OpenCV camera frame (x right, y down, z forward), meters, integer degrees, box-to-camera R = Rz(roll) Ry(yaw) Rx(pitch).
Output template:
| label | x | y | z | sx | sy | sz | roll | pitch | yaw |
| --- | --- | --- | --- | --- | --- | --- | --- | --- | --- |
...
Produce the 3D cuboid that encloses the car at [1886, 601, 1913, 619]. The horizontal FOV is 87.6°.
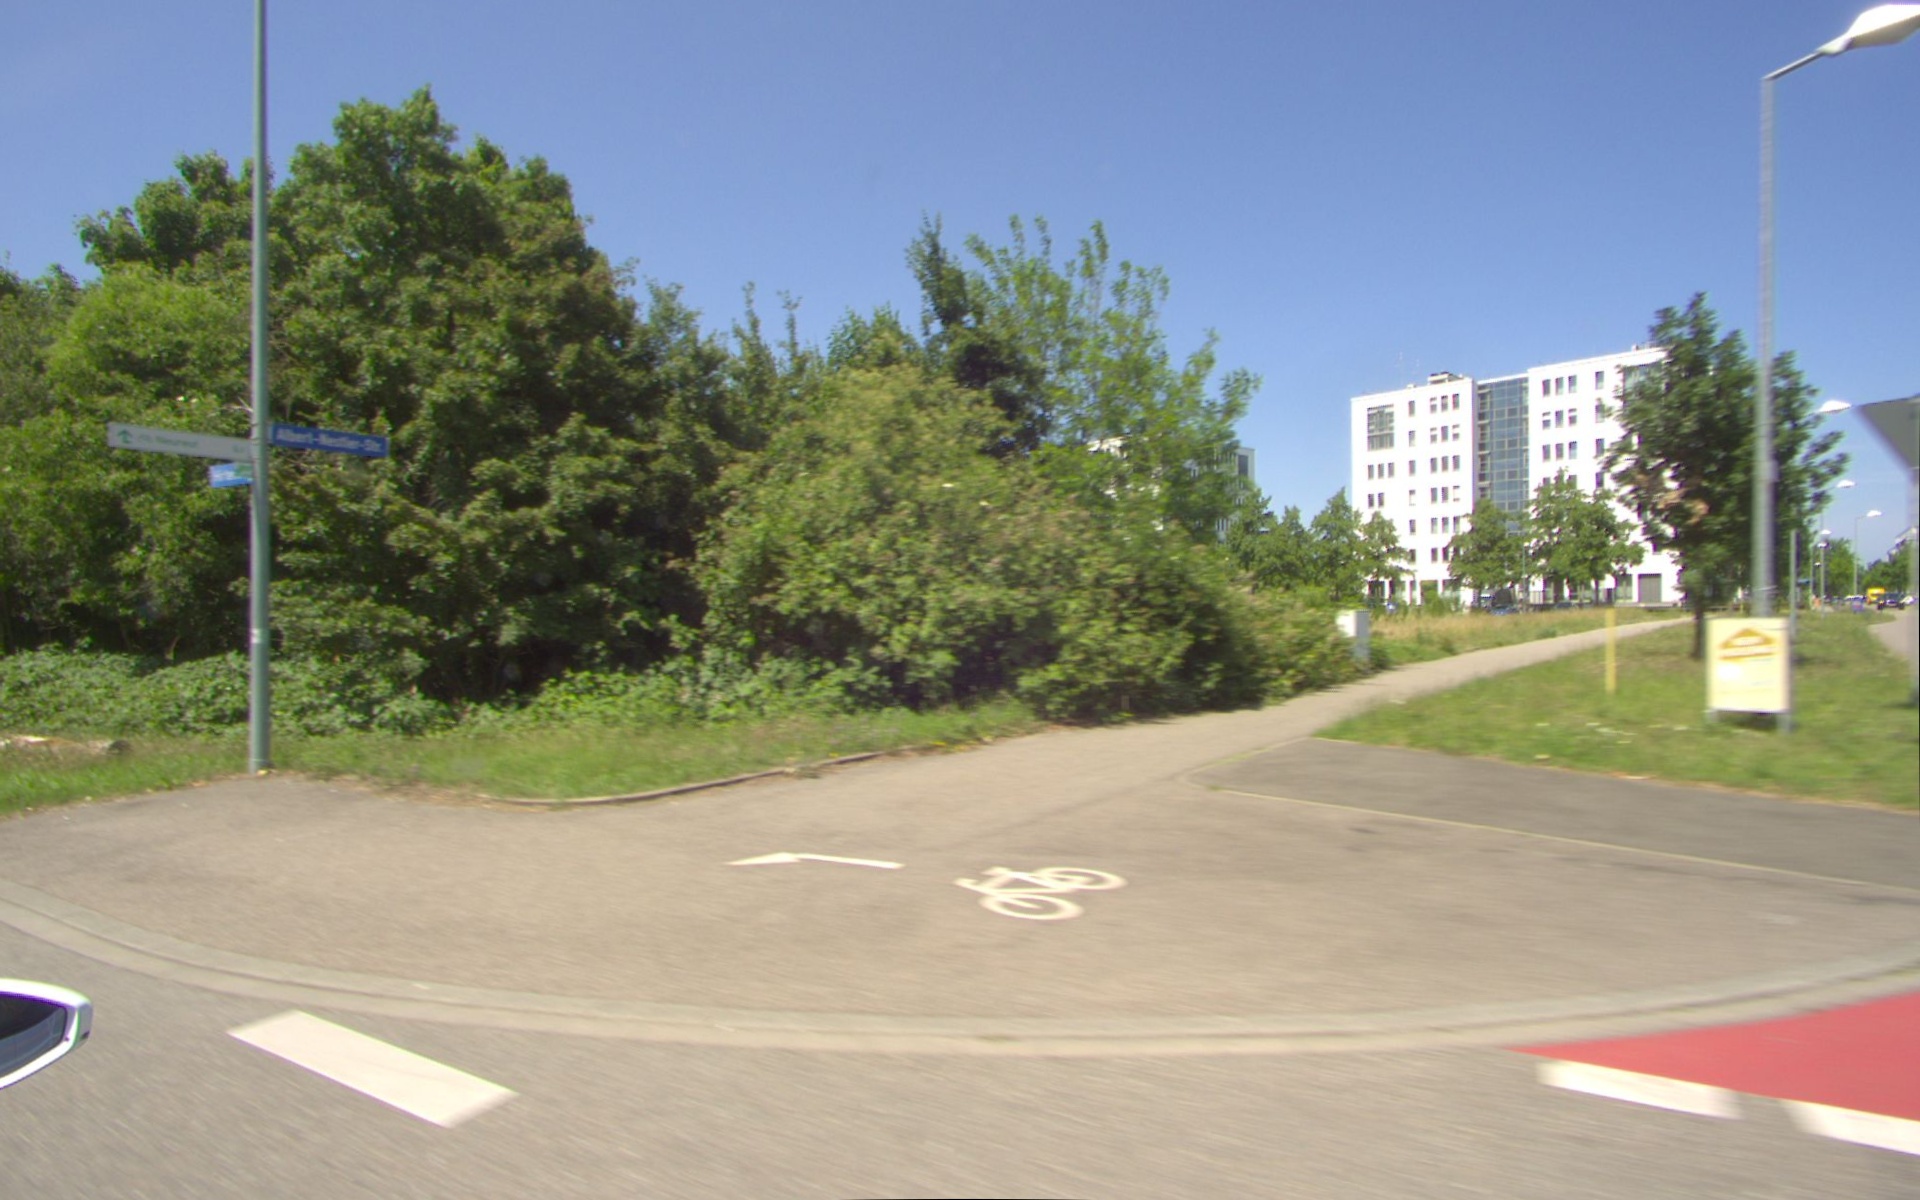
| label | x | y | z | sx | sy | sz | roll | pitch | yaw |
| --- | --- | --- | --- | --- | --- | --- | --- | --- | --- |
| car | 88.681 | 0.924 | 94.541 | 1.686 | 1.553 | 3.597 | 3 | 1 | 43 |
